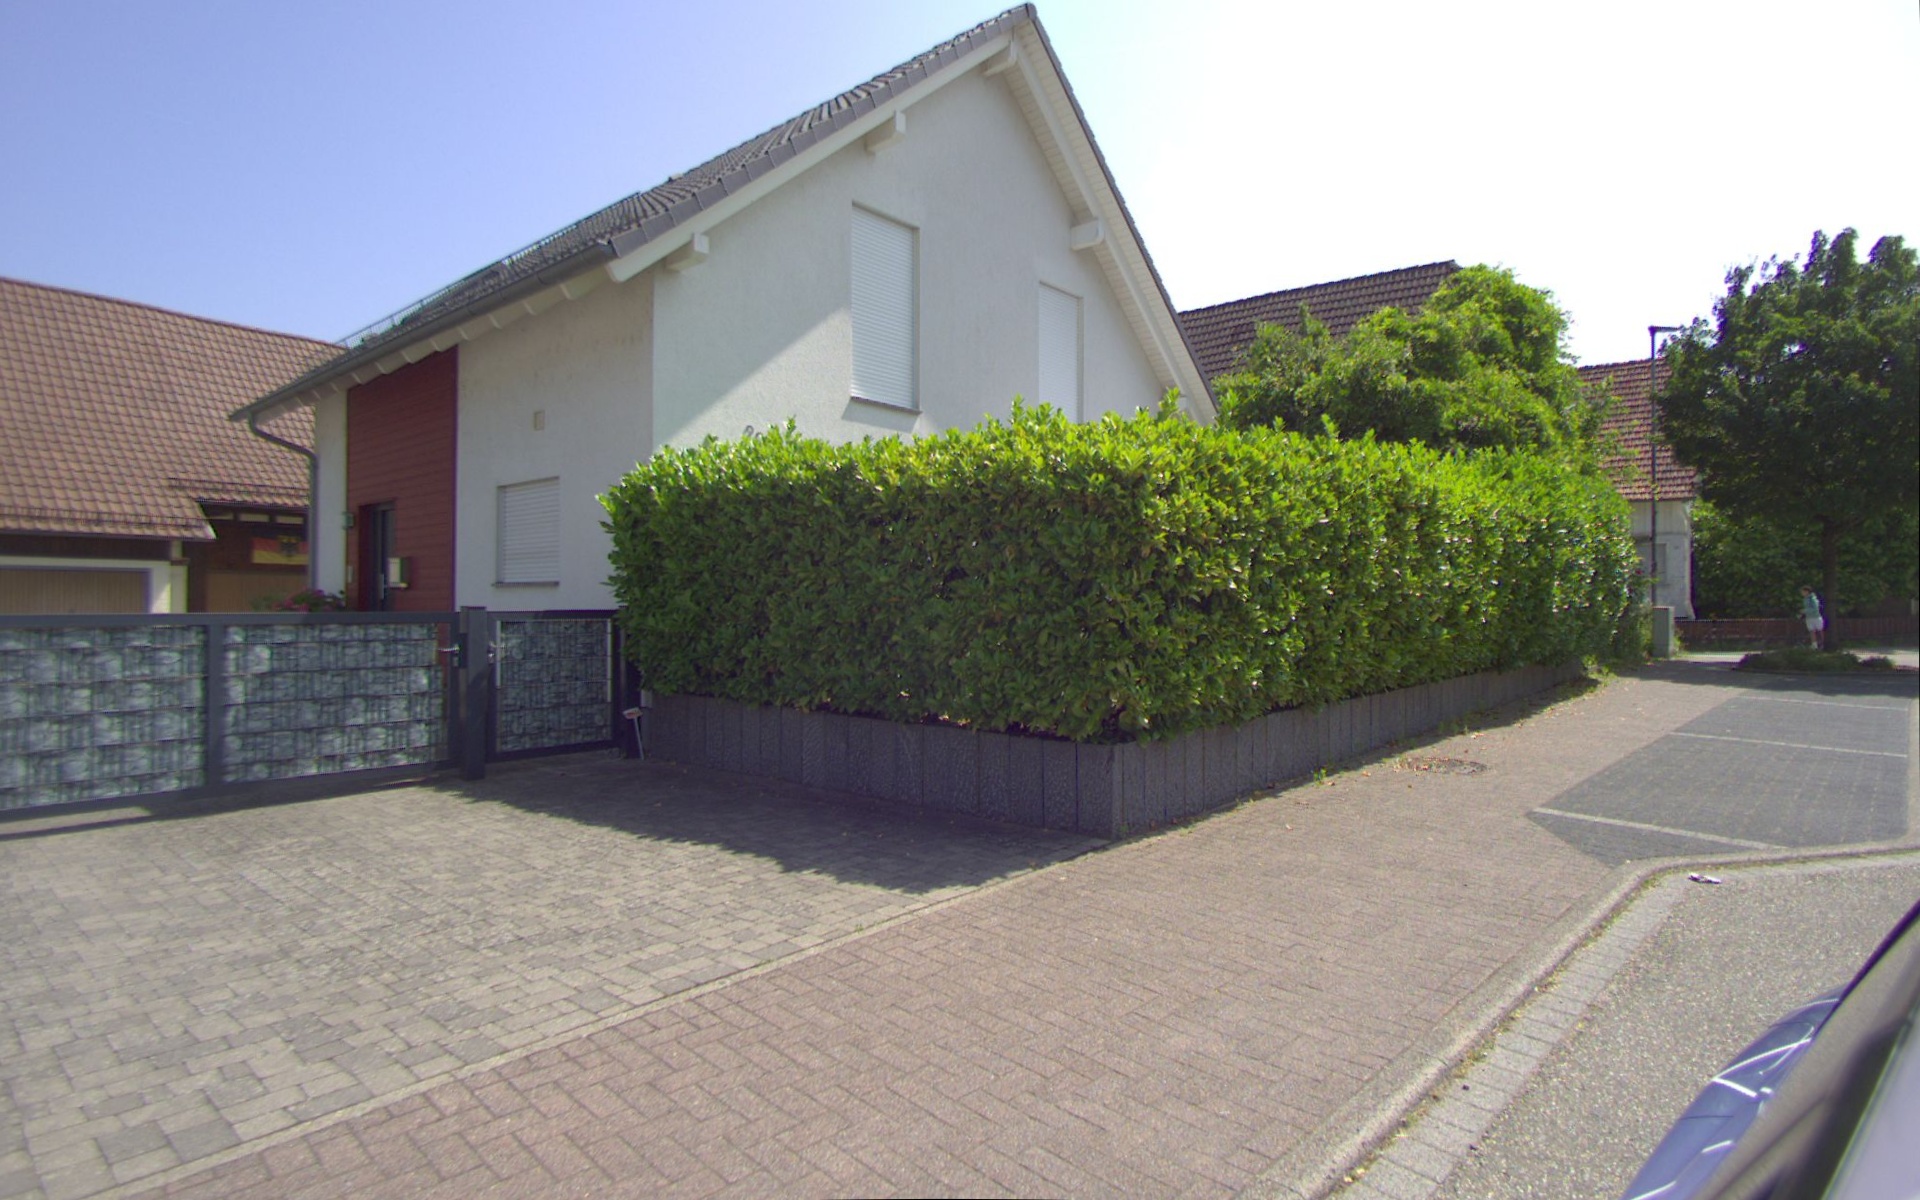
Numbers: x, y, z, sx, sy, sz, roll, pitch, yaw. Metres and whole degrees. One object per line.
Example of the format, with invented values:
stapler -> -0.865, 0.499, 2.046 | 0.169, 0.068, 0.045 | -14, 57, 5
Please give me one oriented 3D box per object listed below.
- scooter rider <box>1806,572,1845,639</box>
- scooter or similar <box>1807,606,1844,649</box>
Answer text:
scooter rider -> 22.930, 0.143, 26.818 | 0.627, 1.745, 0.618 | 0, 0, -31
scooter or similar -> 22.934, 0.727, 26.819 | 0.677, 1.103, 0.543 | 0, 0, -31
